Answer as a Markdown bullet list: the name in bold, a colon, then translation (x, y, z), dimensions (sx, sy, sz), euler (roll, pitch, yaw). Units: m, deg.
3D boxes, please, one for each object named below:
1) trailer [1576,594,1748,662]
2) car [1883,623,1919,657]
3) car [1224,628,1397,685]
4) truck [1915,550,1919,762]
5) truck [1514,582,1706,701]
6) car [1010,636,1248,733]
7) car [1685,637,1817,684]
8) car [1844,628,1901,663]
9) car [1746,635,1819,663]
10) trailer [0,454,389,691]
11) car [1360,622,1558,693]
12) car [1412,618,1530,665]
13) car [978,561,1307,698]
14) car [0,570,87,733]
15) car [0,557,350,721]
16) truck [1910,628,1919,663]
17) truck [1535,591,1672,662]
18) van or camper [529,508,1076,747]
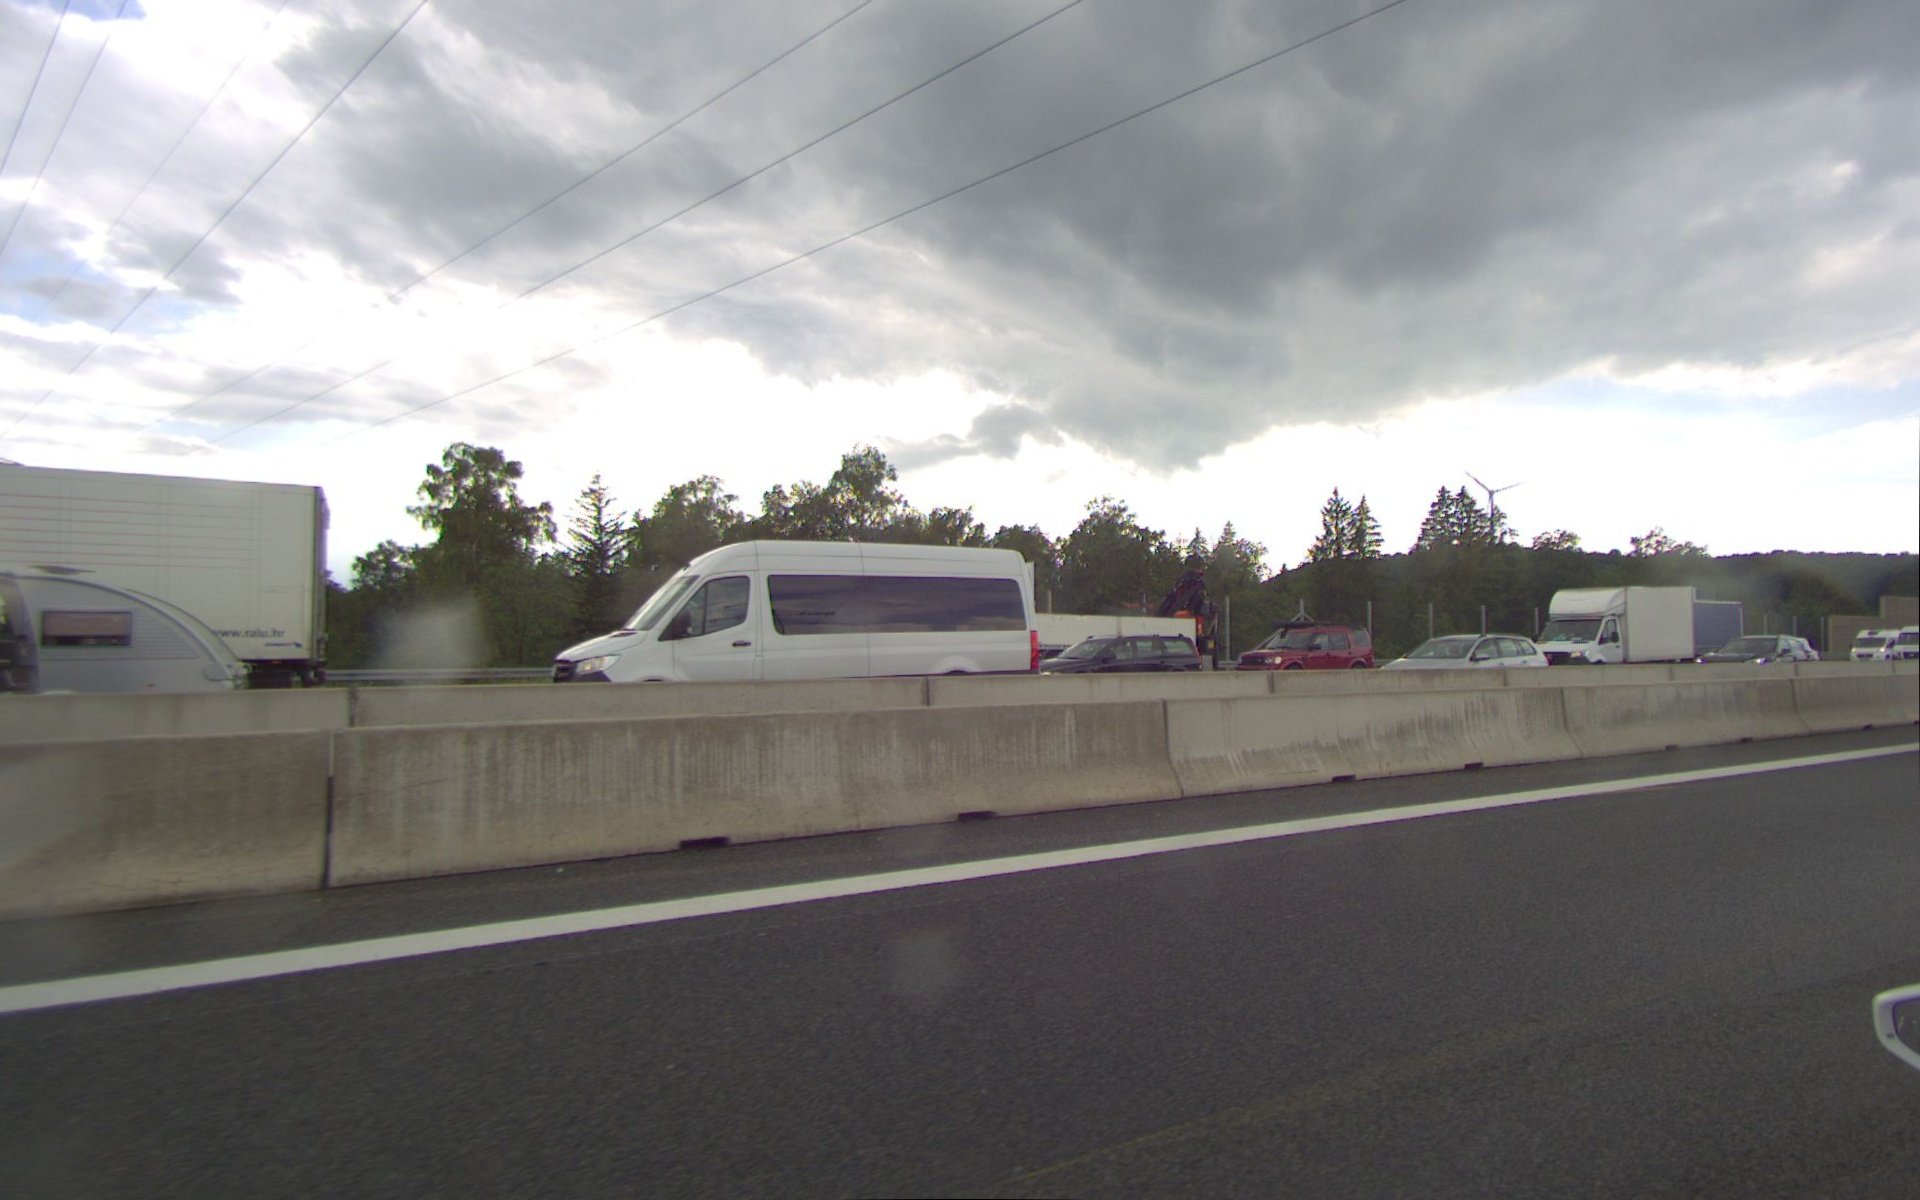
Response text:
- **trailer**: translation (40.608, 1.618, 57.865), dimensions (12.736, 3.629, 3.123), euler (1, -1, -30)
- **car**: translation (54.586, 2.271, 57.031), dimensions (4.973, 1.822, 1.862), euler (1, -1, -30)
- **car**: translation (10.703, 1.672, 30.519), dimensions (5.439, 1.565, 1.905), euler (1, -1, -30)
- **truck**: translation (14.671, 0.696, 12.561), dimensions (7.279, 2.440, 2.339), euler (1, 0, -33)
- **truck**: translation (21.410, 1.326, 32.963), dimensions (7.403, 3.566, 2.173), euler (1, -1, -30)
- **car**: translation (3.895, 1.825, 22.837), dimensions (5.307, 1.940, 1.984), euler (1, -1, -30)
- **car**: translation (22.916, 1.718, 29.077), dimensions (3.953, 1.250, 1.681), euler (1, -1, -30)
- **car**: translation (66.377, 3.308, 73.070), dimensions (4.271, 2.398, 1.864), euler (1, -1, -30)
- **car**: translation (45.951, 2.728, 56.094), dimensions (3.990, 1.436, 1.862), euler (1, -1, -30)
- **trailer**: translation (-15.603, -0.425, 15.599), dimensions (11.638, 3.479, 3.010), euler (1, 0, -30)
- **car**: translation (10.682, 1.182, 21.429), dimensions (4.320, 1.352, 1.681), euler (1, -1, -30)
- **car**: translation (18.158, 1.463, 35.657), dimensions (3.990, 1.565, 1.862), euler (1, 0, -30)
- **car**: translation (6.350, 0.988, 33.603), dimensions (11.520, 3.999, 3.187), euler (1, -1, -30)
- **car**: translation (-11.286, 0.430, 8.857), dimensions (5.111, 1.497, 1.871), euler (1, 0, -30)
- **car**: translation (-11.024, 0.506, 14.244), dimensions (3.953, 2.027, 2.198), euler (1, 0, -30)
- **truck**: translation (49.062, 2.273, 49.687), dimensions (3.953, 1.692, 1.984), euler (1, 0, -31)
- **truck**: translation (35.019, 1.434, 54.603), dimensions (7.575, 3.629, 3.123), euler (1, -1, -30)
- **van or camper**: translation (-1.997, 0.378, 14.327), dimensions (7.432, 2.741, 2.168), euler (1, 0, -30)
